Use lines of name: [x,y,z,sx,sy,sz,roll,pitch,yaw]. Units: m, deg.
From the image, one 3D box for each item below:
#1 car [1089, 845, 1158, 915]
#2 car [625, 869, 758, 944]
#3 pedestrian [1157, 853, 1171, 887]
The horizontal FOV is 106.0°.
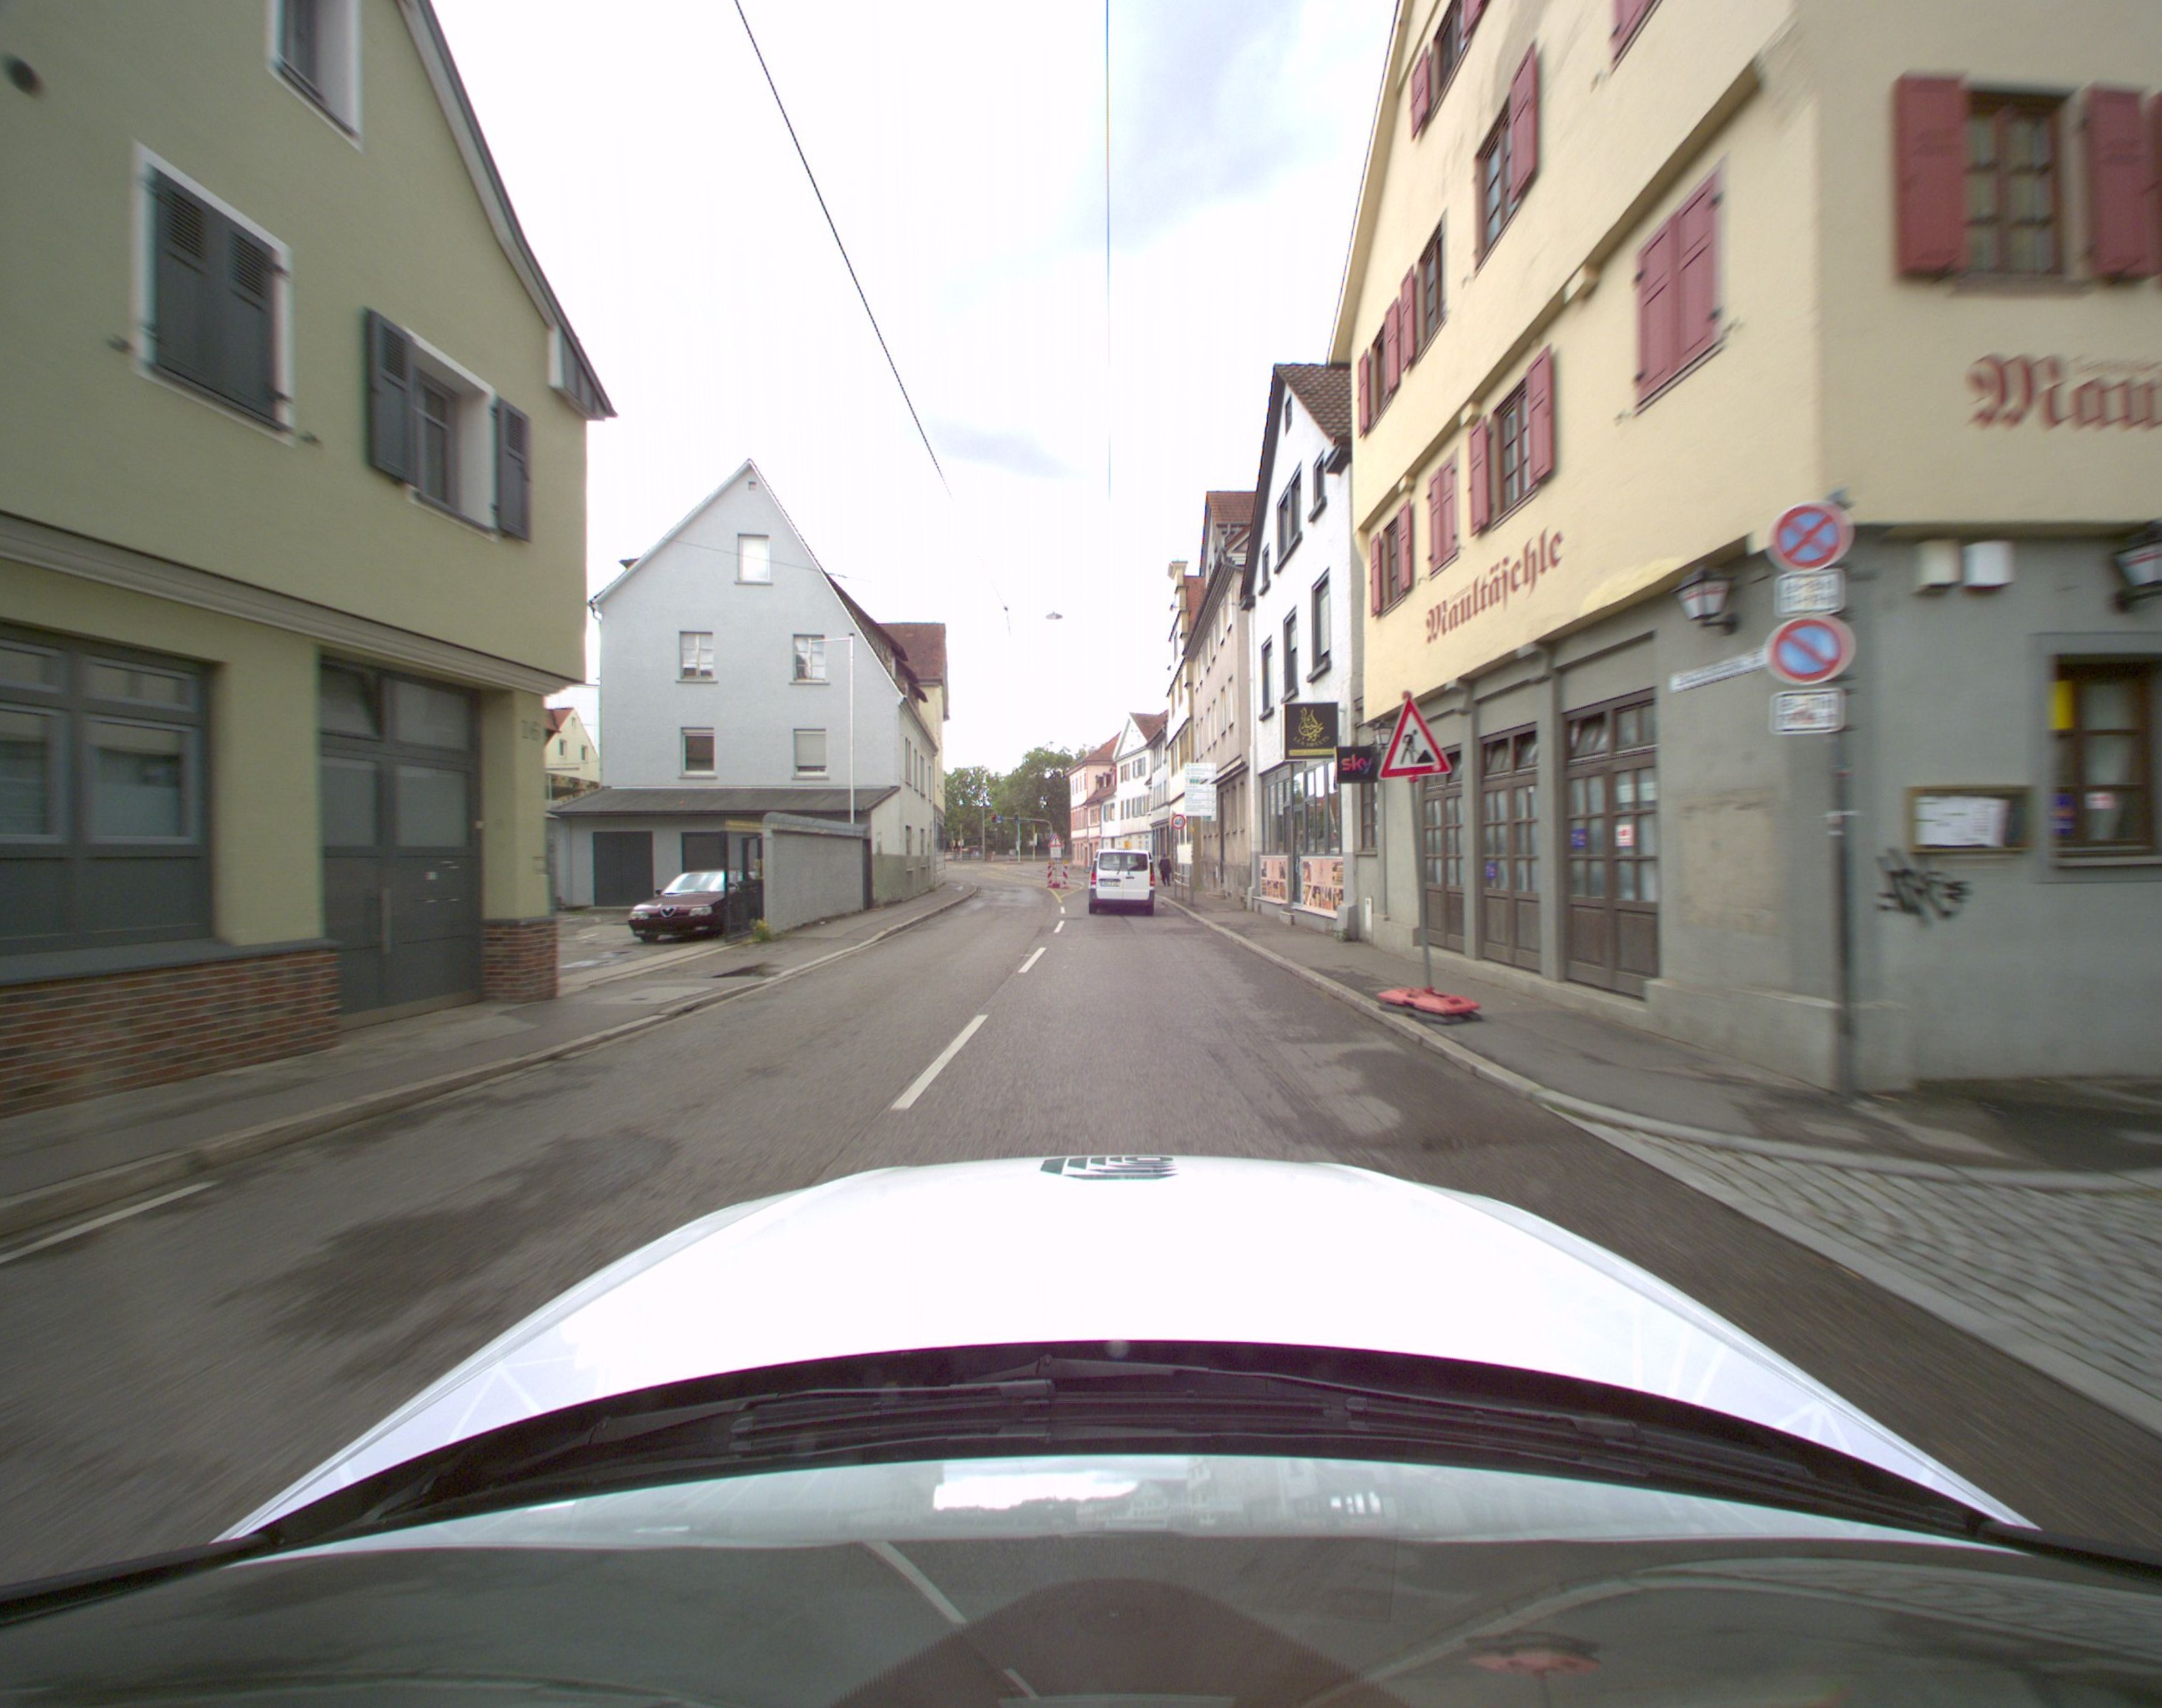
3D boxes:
car: [1.184,0.731,24.531,1.866,1.912,4.000,-1,0,0]
car: [-8.098,1.015,17.282,1.647,1.354,3.983,-1,-1,-12]
pedestrian: [4.338,0.818,42.375,0.641,1.747,0.562,0,-1,-3]
